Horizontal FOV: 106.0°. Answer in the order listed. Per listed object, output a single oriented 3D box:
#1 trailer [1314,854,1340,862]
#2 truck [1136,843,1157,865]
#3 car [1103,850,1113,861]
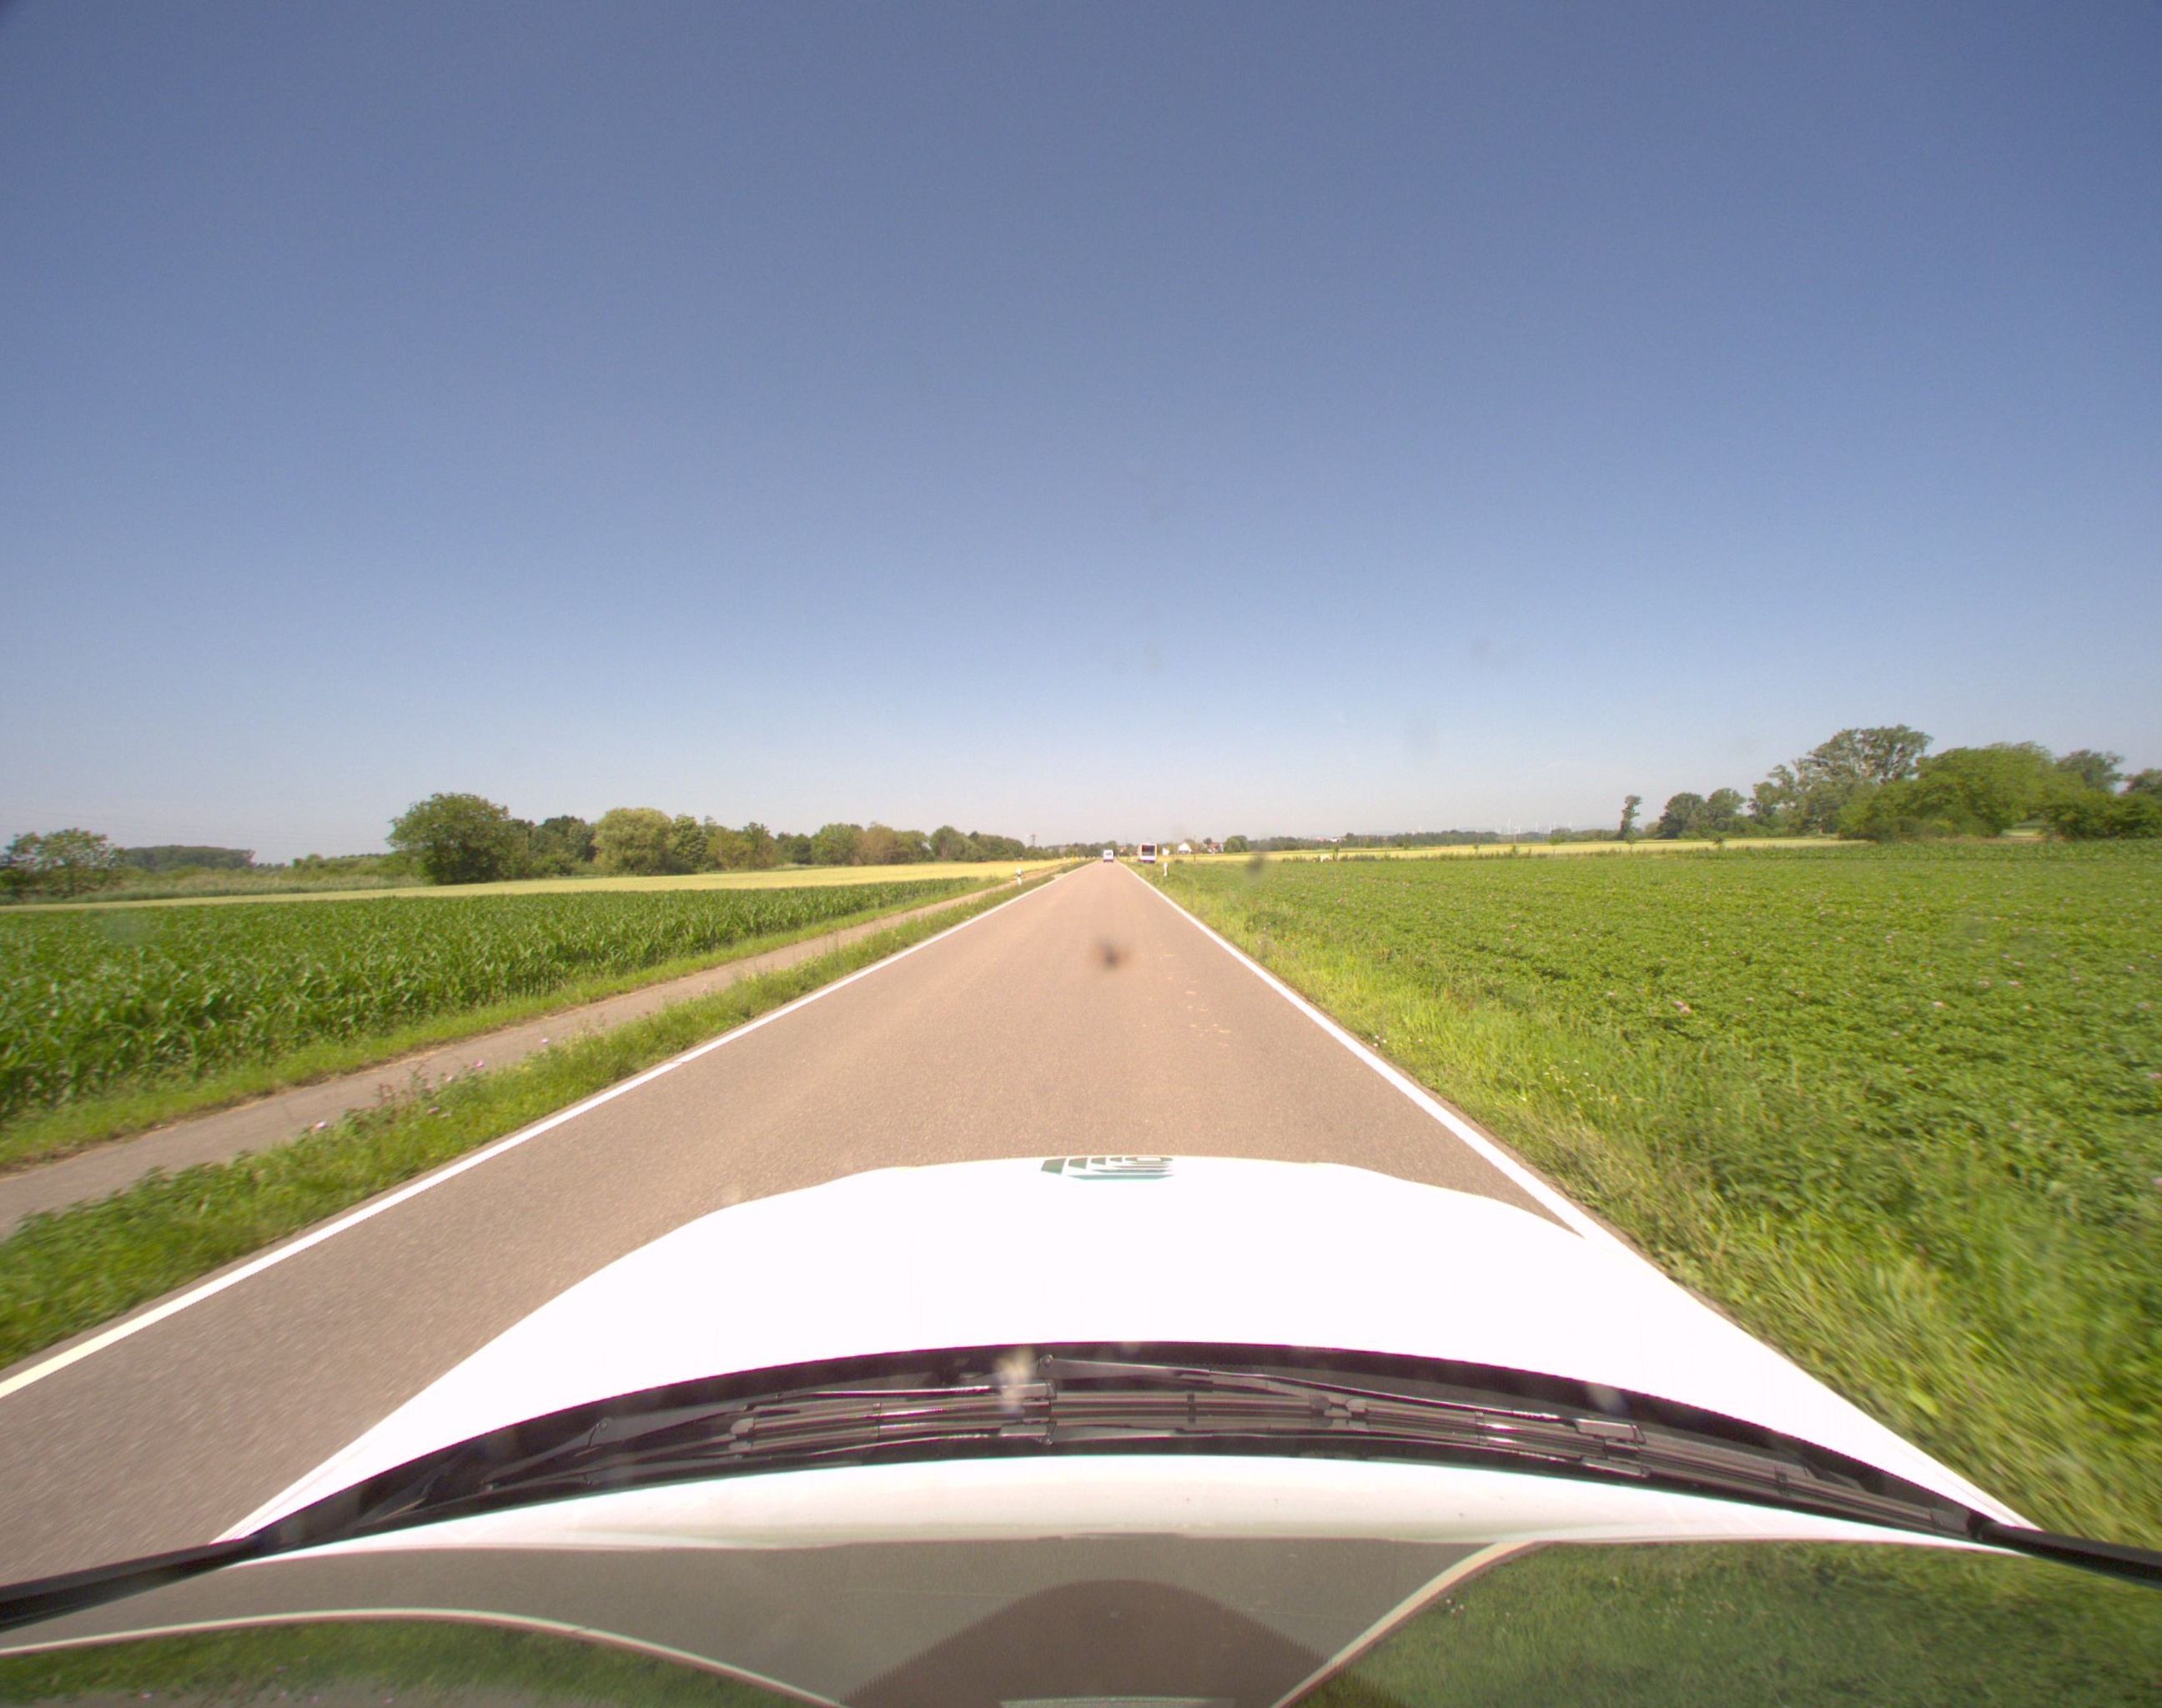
[{"bbox_3d":[36.332,0.596,120.357,3.560,1.189,1.670,0,0,13],"label":"trailer"},{"bbox_3d":[8.816,0.014,110.247,2.328,2.942,7.007,1,0,0],"label":"truck"},{"bbox_3d":[5.576,0.344,167.212,2.099,2.304,5.498,0,0,2],"label":"car"}]
